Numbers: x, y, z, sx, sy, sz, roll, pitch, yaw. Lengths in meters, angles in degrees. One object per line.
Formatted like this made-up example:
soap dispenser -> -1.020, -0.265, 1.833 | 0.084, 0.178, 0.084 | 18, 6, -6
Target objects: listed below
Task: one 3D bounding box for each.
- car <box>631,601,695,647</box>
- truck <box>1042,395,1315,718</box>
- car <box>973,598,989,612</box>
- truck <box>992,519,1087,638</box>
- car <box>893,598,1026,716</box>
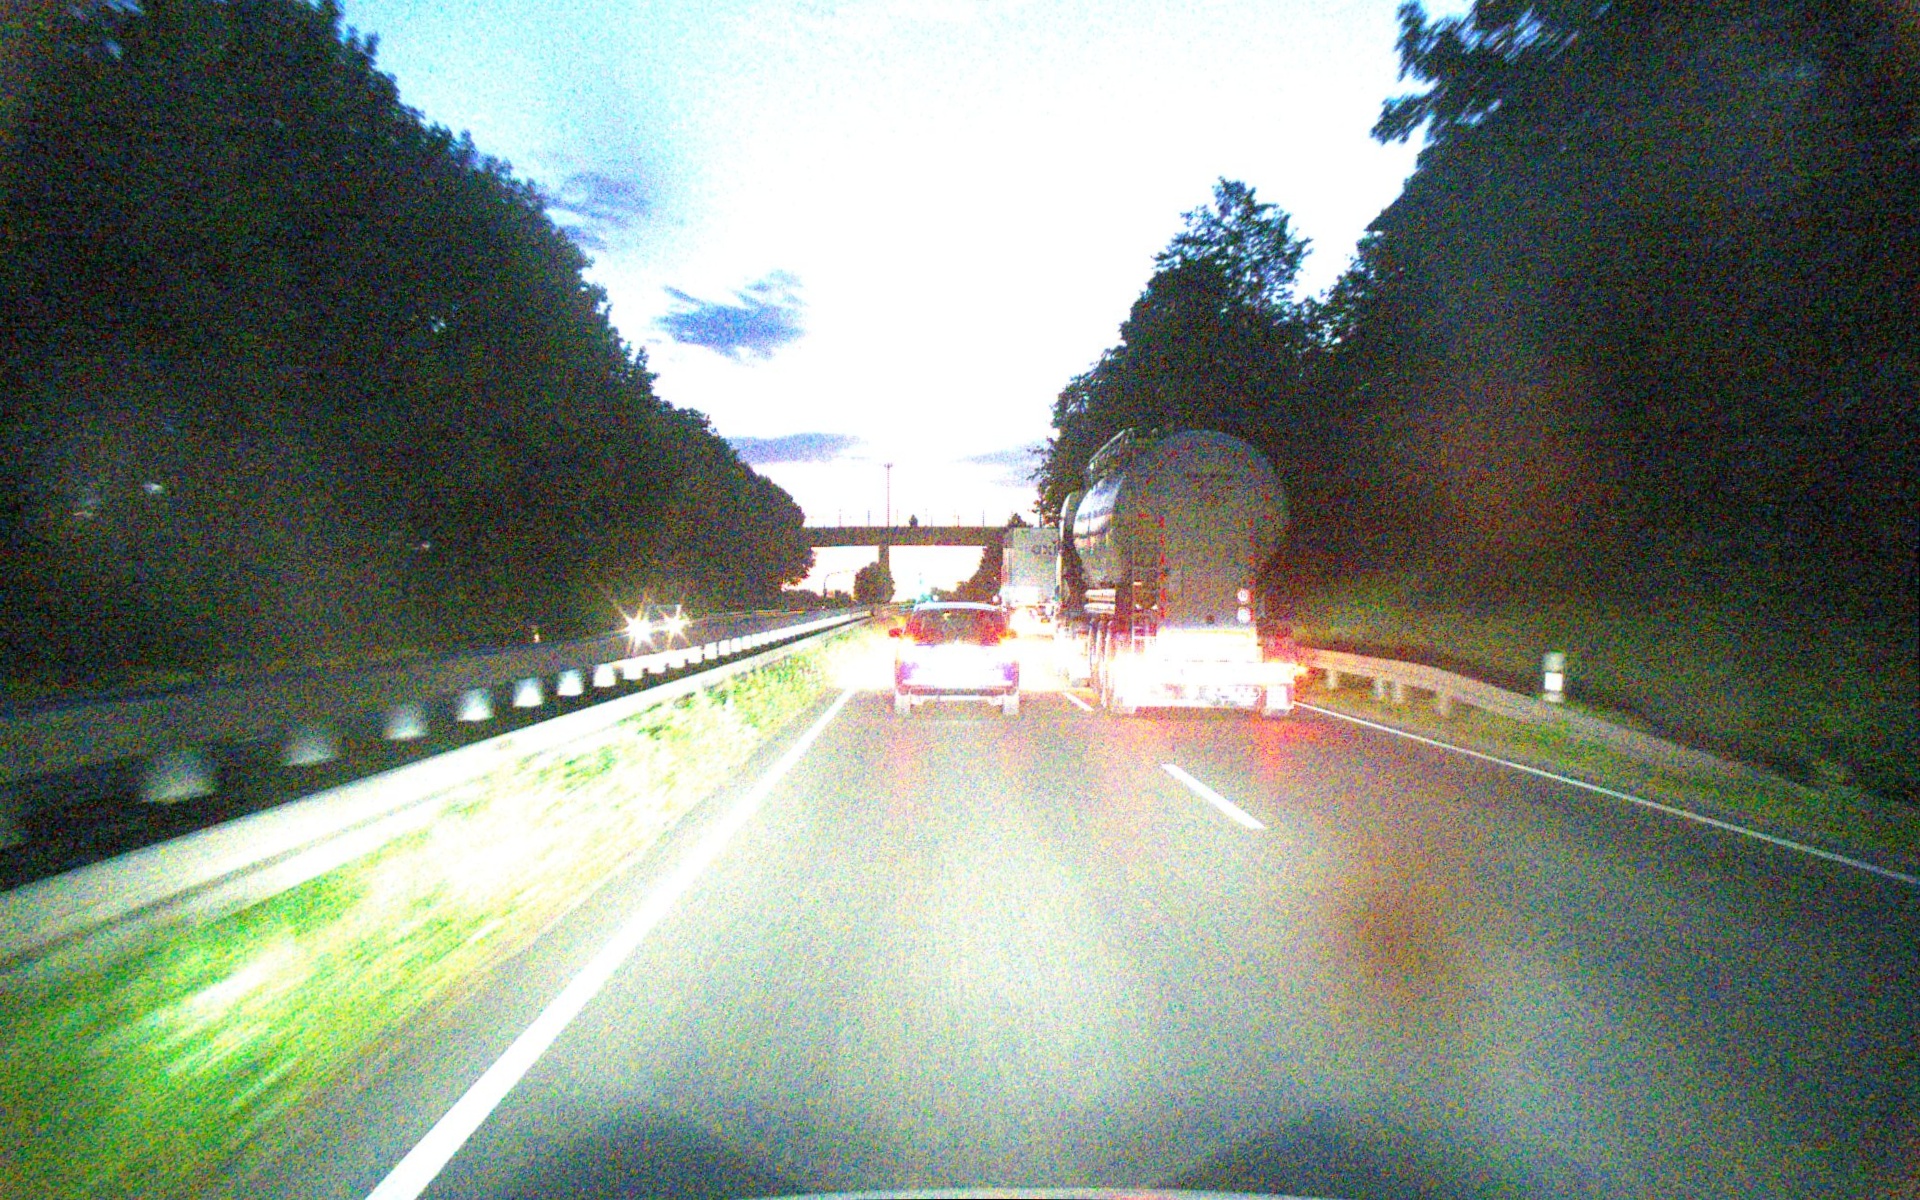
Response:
car -> -10.403, 0.816, 58.098 | 1.584, 1.533, 3.868 | 1, 0, -1
truck -> 3.177, -0.617, 28.157 | 2.633, 4.178, 13.138 | 1, 0, -1
car -> 2.262, 0.536, 178.755 | 1.661, 1.478, 3.913 | 1, 0, -1
truck -> 2.948, -0.718, 64.989 | 2.824, 4.178, 12.680 | 1, 0, -1
car -> -0.041, 0.733, 22.929 | 1.661, 1.478, 3.913 | 1, 0, -1
